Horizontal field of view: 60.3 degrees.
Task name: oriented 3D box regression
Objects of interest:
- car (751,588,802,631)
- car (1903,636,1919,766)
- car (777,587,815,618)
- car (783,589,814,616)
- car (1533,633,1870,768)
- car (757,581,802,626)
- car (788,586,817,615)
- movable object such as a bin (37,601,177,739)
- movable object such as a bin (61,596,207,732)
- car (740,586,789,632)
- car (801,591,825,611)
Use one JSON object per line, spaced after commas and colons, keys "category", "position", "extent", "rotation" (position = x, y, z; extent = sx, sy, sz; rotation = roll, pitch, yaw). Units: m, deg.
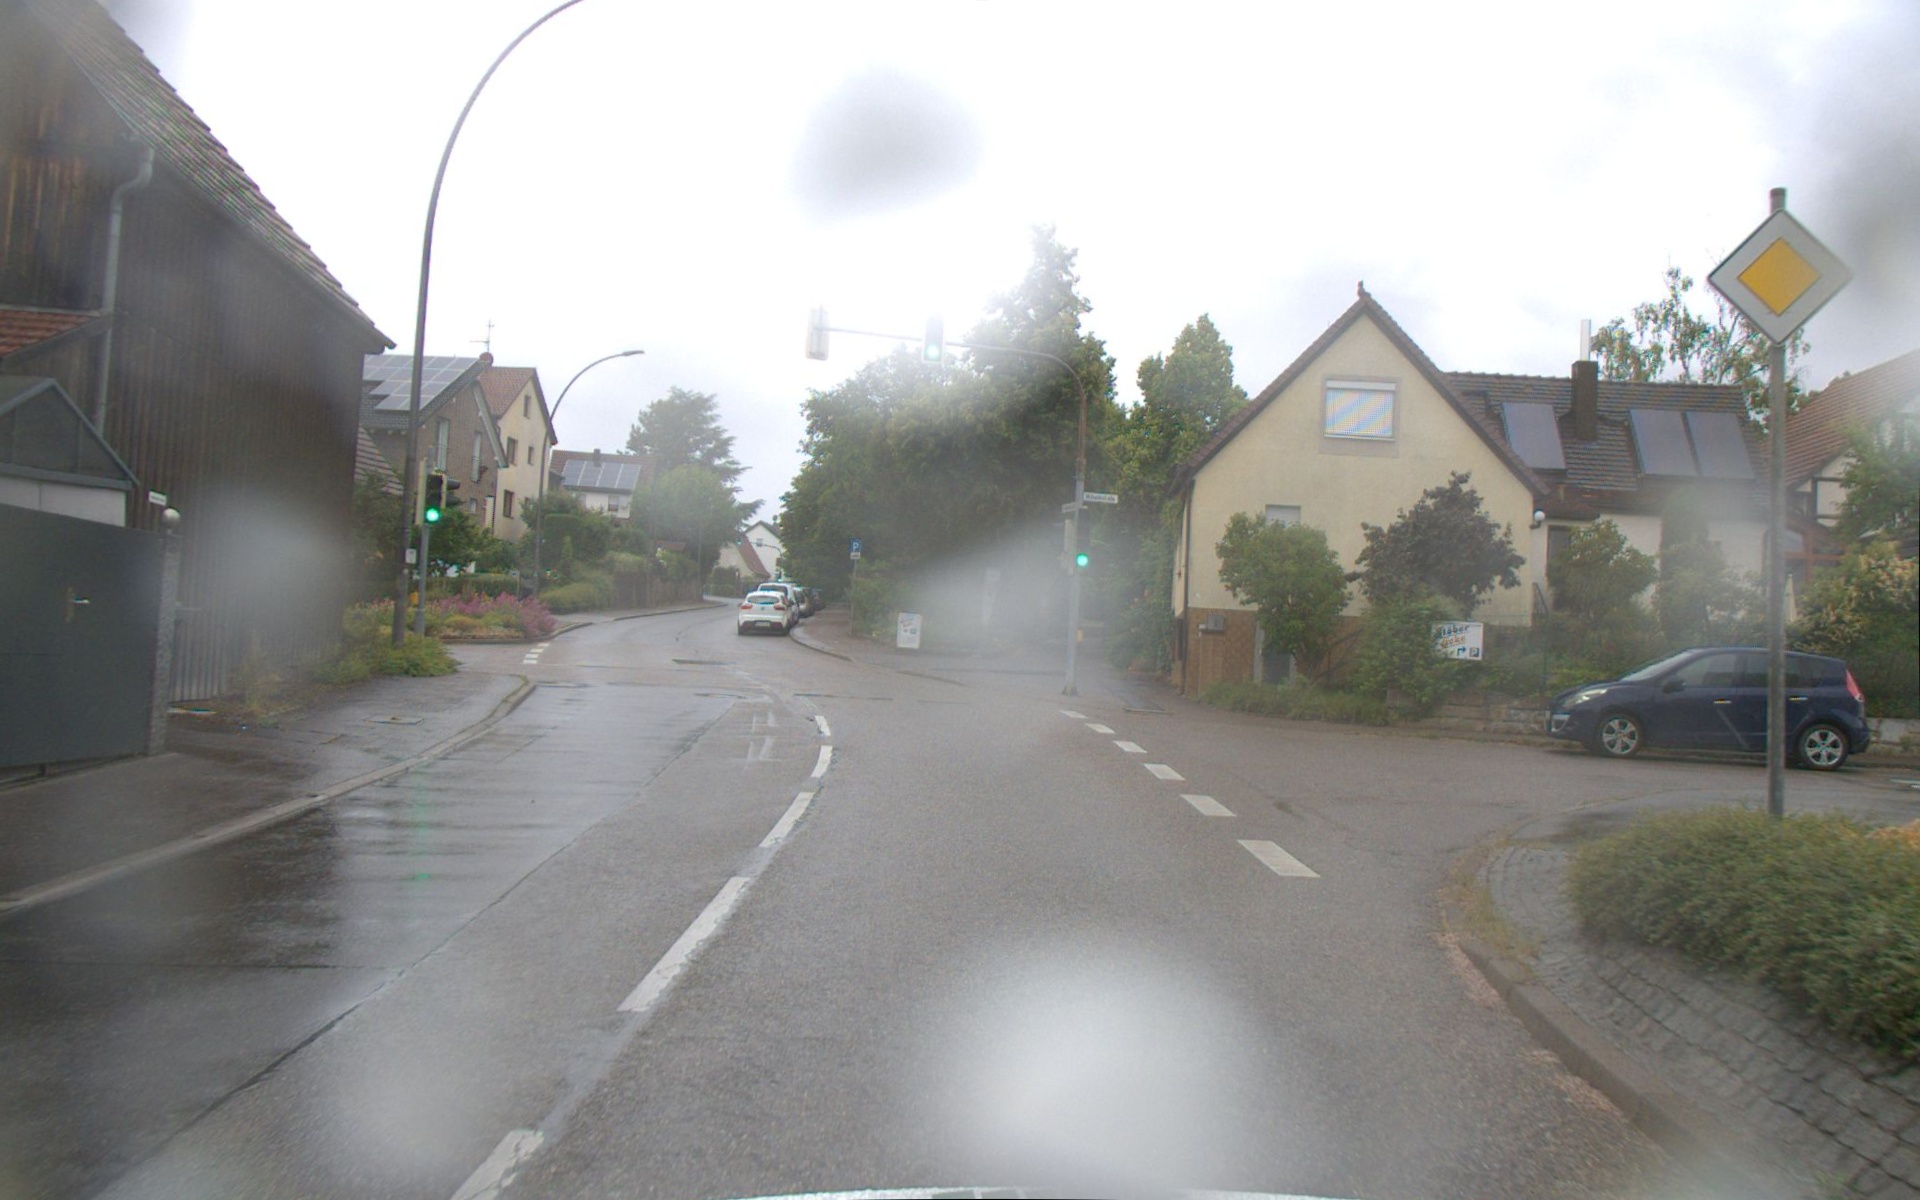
{"category": "car", "position": [-7.071, 0.339, 64.111], "extent": [1.613, 1.487, 3.999], "rotation": [3, 1, -3]}
{"category": "car", "position": [15.754, 1.537, 22.608], "extent": [4.585, 1.835, 1.805], "rotation": [3, -1, 12]}
{"category": "car", "position": [-9.072, 0.139, 91.652], "extent": [1.778, 1.601, 3.878], "rotation": [2, -1, -2]}
{"category": "car", "position": [-9.508, 0.178, 97.553], "extent": [1.730, 1.472, 4.690], "rotation": [2, -1, -6]}
{"category": "car", "position": [10.529, 1.399, 23.778], "extent": [4.044, 1.613, 1.866], "rotation": [3, -1, 12]}
{"category": "car", "position": [-7.597, 0.139, 69.842], "extent": [1.605, 1.771, 4.133], "rotation": [3, 0, -3]}
{"category": "car", "position": [-9.919, 0.027, 103.931], "extent": [1.708, 1.697, 4.492], "rotation": [2, -1, -5]}
{"category": "movable object such as a bin", "position": [-7.101, 0.574, 13.797], "extent": [0.801, 1.080, 0.596], "rotation": [3, -1, -4]}
{"category": "movable object such as a bin", "position": [-7.211, 0.553, 14.475], "extent": [0.880, 1.096, 0.651], "rotation": [4, -1, -4]}
{"category": "car", "position": [-6.927, 0.310, 58.884], "extent": [1.580, 1.506, 4.033], "rotation": [3, 0, -6]}
{"category": "car", "position": [-10.462, 0.061, 117.690], "extent": [1.620, 1.395, 4.176], "rotation": [2, 0, -6]}
